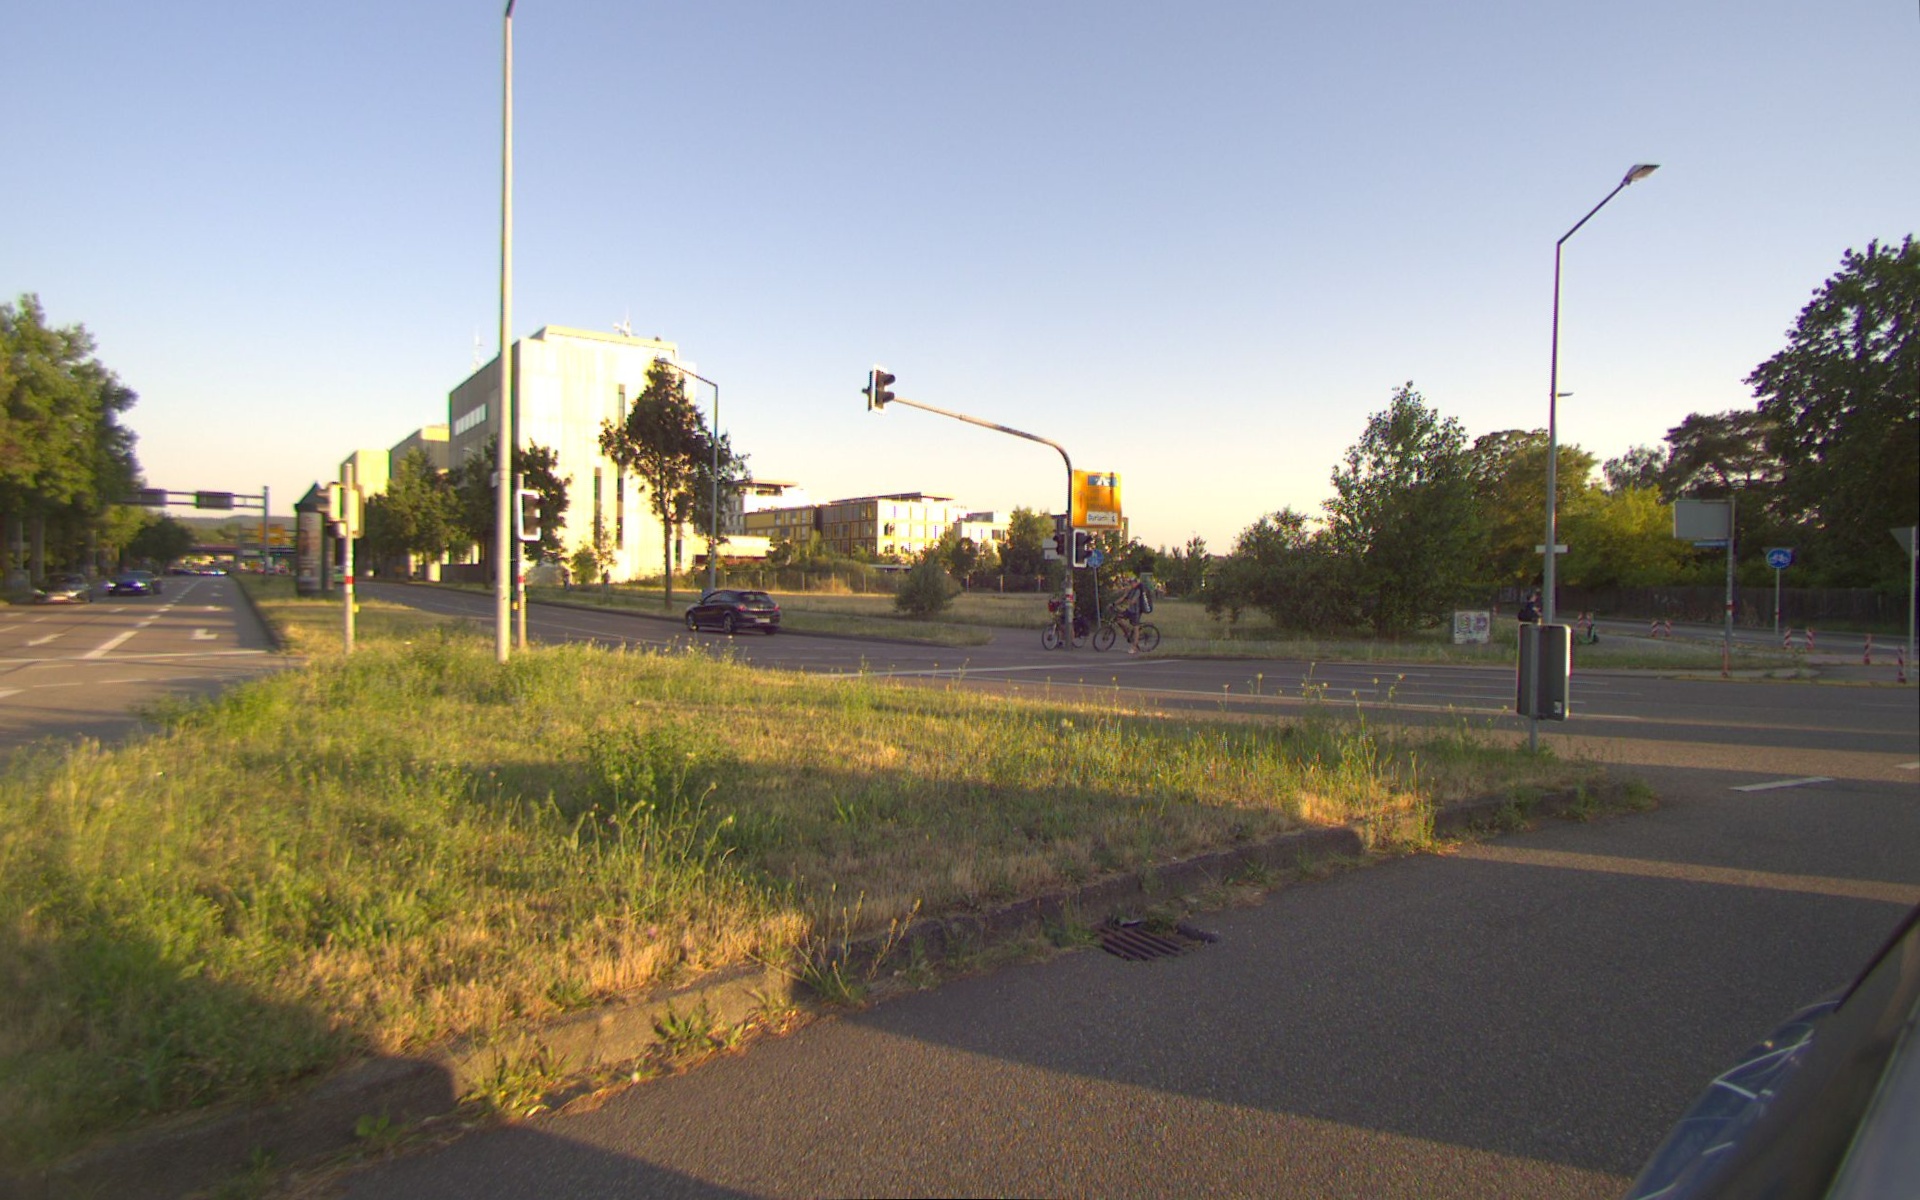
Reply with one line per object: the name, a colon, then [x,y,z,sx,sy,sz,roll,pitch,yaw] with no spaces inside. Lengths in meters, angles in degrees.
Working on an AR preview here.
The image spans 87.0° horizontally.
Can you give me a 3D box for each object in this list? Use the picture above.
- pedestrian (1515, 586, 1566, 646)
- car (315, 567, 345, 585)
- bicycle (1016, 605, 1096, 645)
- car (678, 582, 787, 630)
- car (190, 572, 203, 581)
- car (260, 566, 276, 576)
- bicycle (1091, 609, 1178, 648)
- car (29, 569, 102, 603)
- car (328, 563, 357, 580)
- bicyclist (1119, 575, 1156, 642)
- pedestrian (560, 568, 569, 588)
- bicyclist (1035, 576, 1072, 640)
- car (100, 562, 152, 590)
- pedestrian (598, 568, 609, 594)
pedestrian: [16.297,0.434,28.444,0.977,1.610,0.923,1,1,13]
car: [-52.757,-2.004,84.740,1.659,1.438,3.997,0,1,-39]
bicycle: [2.600,0.661,27.335,2.065,0.975,0.711,-2,2,-27]
car: [-7.445,0.161,32.876,1.721,1.396,4.119,0,2,-41]
car: [-158.500,-4.839,210.142,1.964,1.803,3.995,0,0,-39]
car: [-114.557,-4.840,167.467,1.964,1.649,3.997,0,1,-38]
bicycle: [4.528,0.734,26.230,2.100,0.975,0.711,1,1,-15]
car: [-41.587,-0.683,47.160,1.962,1.524,4.622,0,1,-34]
car: [-59.911,-2.755,98.154,1.703,1.597,4.324,0,1,-40]
bicyclist: [4.600,0.211,26.251,0.674,1.711,0.727,1,1,-13]
pedestrian: [-30.050,-1.674,76.844,0.492,1.531,0.530,0,1,-35]
bicyclist: [2.514,0.210,27.316,0.675,1.711,0.726,0,1,-29]
car: [-47.240,-1.371,57.402,1.963,1.524,4.771,0,1,-36]
pedestrian: [-23.573,-1.257,66.884,0.555,1.705,0.520,0,1,-35]
